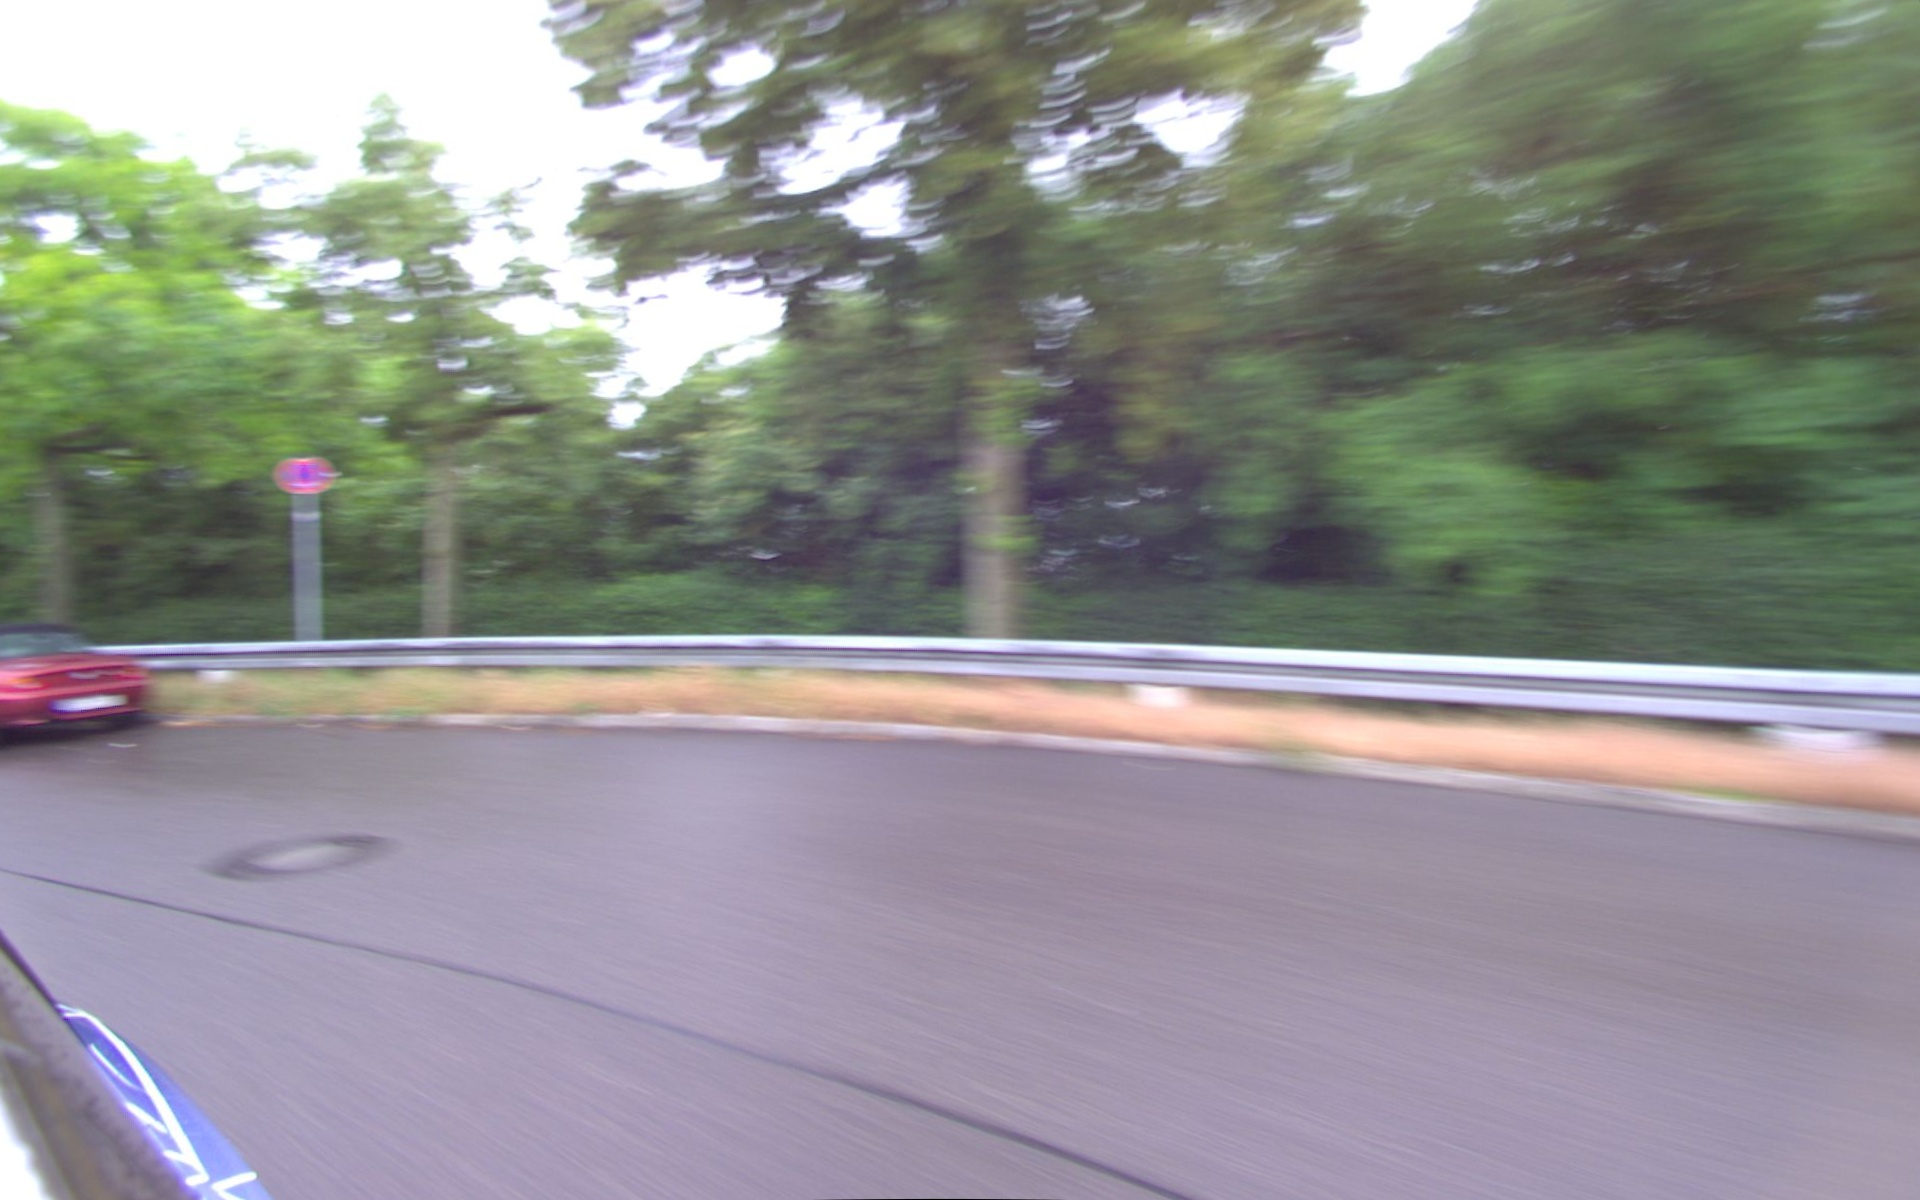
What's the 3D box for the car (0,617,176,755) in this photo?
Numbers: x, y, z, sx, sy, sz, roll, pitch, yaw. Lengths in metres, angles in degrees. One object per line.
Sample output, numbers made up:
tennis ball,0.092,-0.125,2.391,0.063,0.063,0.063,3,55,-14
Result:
car,-11.302,0.921,11.510,4.294,1.306,1.783,-1,1,21
